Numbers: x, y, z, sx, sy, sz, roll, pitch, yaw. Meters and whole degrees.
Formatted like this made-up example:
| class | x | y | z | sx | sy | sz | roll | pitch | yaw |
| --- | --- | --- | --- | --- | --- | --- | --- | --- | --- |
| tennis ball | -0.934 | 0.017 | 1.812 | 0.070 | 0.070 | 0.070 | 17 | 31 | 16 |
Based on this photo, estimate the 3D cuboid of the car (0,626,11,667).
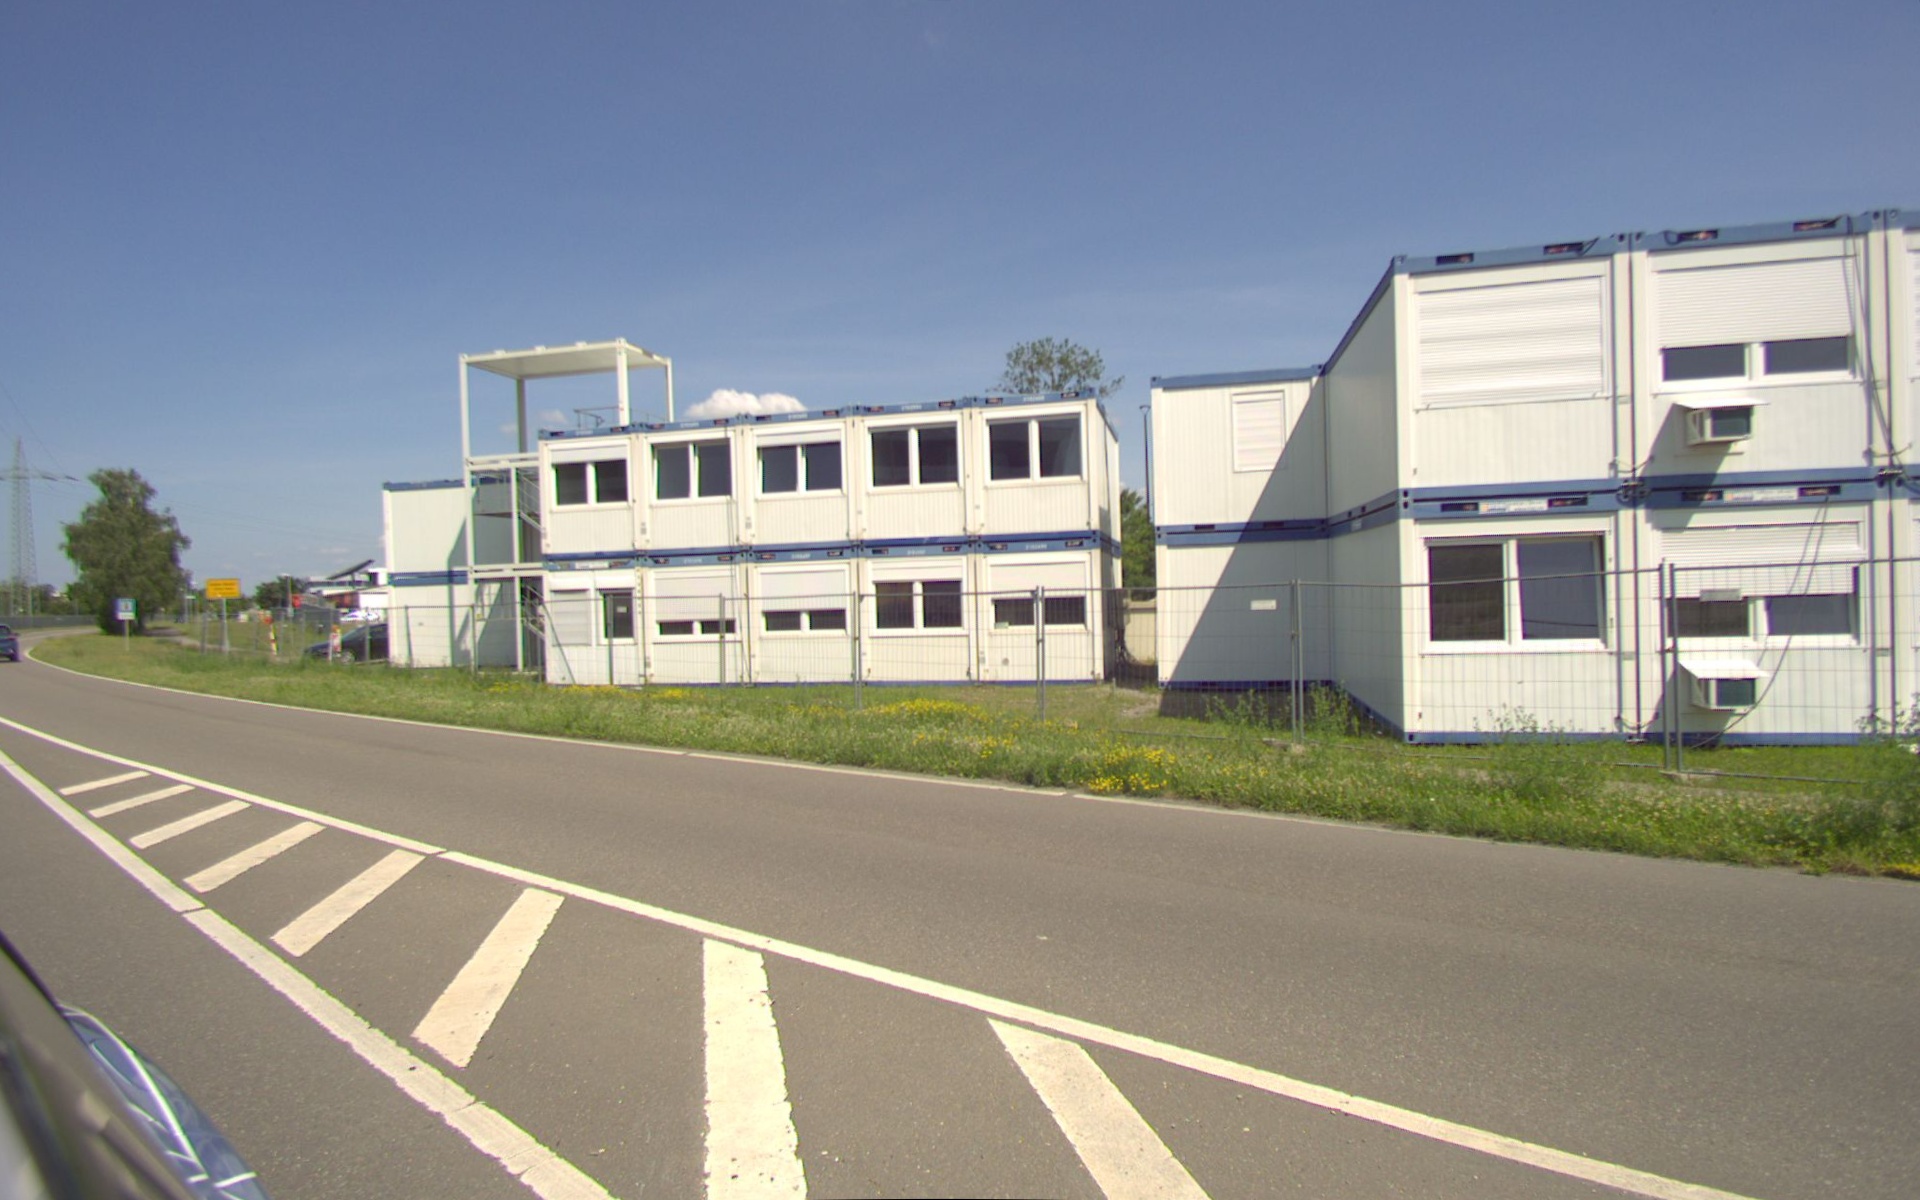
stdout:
| class | x | y | z | sx | sy | sz | roll | pitch | yaw |
| --- | --- | --- | --- | --- | --- | --- | --- | --- | --- |
| car | -37.842 | 1.805 | 39.114 | 1.682 | 1.493 | 4.004 | -1 | 0 | -43 |

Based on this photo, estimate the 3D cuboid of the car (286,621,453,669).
| class | x | y | z | sx | sy | sz | roll | pitch | yaw |
| --- | --- | --- | --- | --- | --- | --- | --- | --- | --- |
| car | -21.530 | 1.615 | 37.130 | 1.994 | 1.427 | 4.930 | -2 | 0 | 32 |

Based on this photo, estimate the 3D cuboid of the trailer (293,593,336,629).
| class | x | y | z | sx | sy | sz | roll | pitch | yaw |
| --- | --- | --- | --- | --- | --- | --- | --- | --- | --- |
| trailer | -69.760 | 1.190 | 109.278 | 3.354 | 3.672 | 8.679 | -1 | 0 | -36 |

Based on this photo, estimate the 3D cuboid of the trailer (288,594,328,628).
| class | x | y | z | sx | sy | sz | roll | pitch | yaw |
| --- | --- | --- | --- | --- | --- | --- | --- | --- | --- |
| trailer | -76.675 | 1.280 | 118.842 | 3.247 | 3.672 | 14.960 | -1 | 0 | -36 |

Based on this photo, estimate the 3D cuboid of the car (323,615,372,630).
| class | x | y | z | sx | sy | sz | roll | pitch | yaw |
| --- | --- | --- | --- | --- | --- | --- | --- | --- | --- |
| car | -59.511 | 2.183 | 98.319 | 3.934 | 1.353 | 1.751 | -2 | 0 | -36 |

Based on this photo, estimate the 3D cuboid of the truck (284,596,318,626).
| class | x | y | z | sx | sy | sz | roll | pitch | yaw |
| --- | --- | --- | --- | --- | --- | --- | --- | --- | --- |
| truck | -84.184 | 1.378 | 129.175 | 3.060 | 3.672 | 10.619 | -1 | 0 | -36 |
